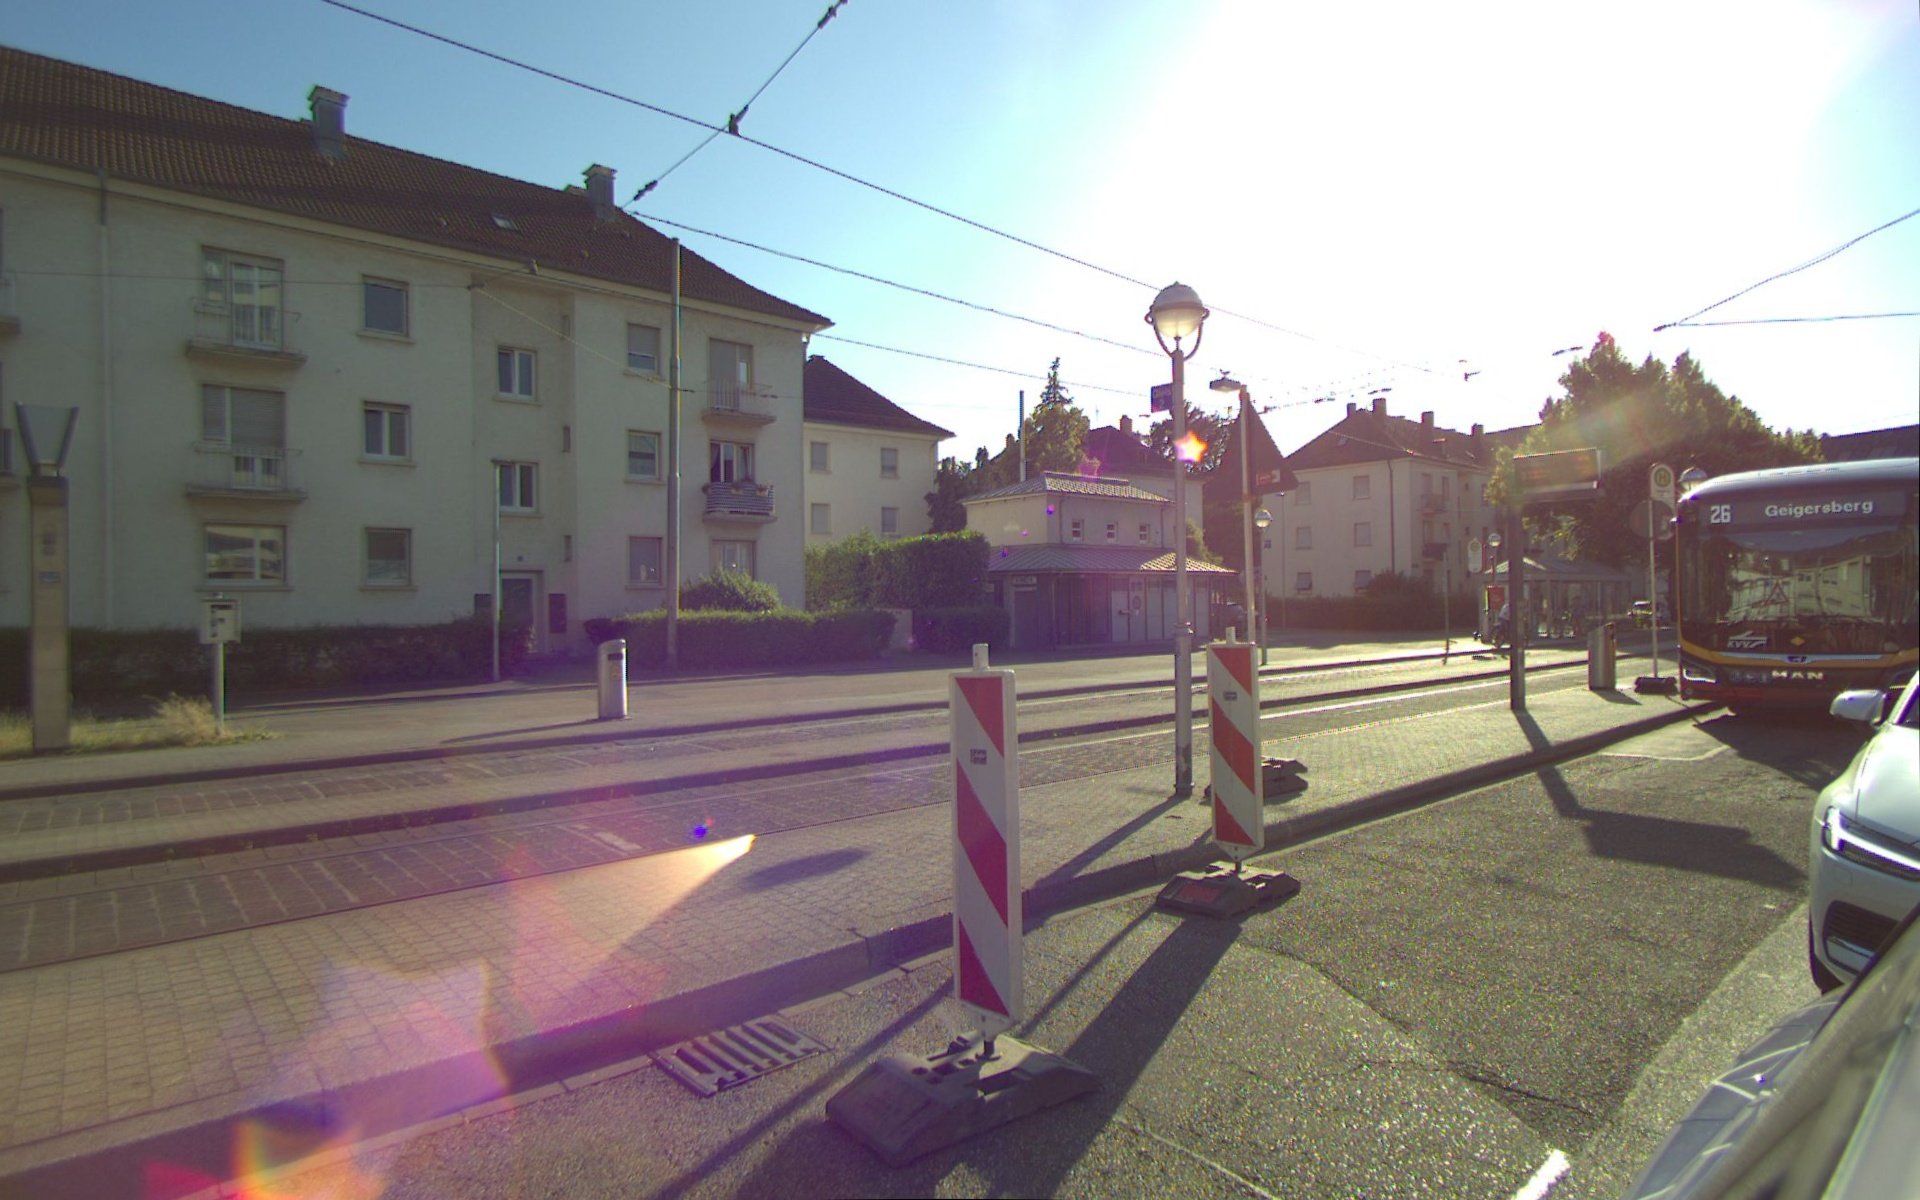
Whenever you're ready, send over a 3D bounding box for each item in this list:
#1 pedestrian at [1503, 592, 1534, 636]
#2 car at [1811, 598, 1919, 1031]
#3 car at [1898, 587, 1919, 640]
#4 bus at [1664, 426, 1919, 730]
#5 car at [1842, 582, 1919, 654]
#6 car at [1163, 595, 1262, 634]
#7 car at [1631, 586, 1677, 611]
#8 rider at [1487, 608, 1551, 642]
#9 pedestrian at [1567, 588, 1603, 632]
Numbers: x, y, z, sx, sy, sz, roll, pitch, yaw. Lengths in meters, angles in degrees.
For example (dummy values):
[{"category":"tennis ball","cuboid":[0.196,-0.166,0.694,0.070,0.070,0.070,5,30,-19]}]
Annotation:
[{"category":"pedestrian","cuboid":[17.822,0.432,32.289,0.568,1.398,0.660,0,0,-21]},{"category":"car","cuboid":[5.250,0.733,4.346,4.143,1.472,1.819,0,0,-41]},{"category":"car","cuboid":[28.788,0.371,29.240,4.740,1.477,1.968,0,0,-41]},{"category":"bus","cuboid":[14.321,-0.262,15.857,11.824,3.345,2.745,0,0,-42]},{"category":"car","cuboid":[21.229,0.362,22.375,4.740,1.477,1.968,0,0,-41]},{"category":"car","cuboid":[11.589,0.686,46.678,1.964,1.694,4.050,-1,-1,-39]},{"category":"car","cuboid":[53.783,-0.105,78.445,3.930,1.887,1.997,-1,0,-41]},{"category":"rider","cuboid":[17.826,0.786,32.299,0.568,1.004,1.861,0,0,-21]},{"category":"pedestrian","cuboid":[23.470,0.354,38.026,0.825,1.631,0.827,0,0,-23]}]
